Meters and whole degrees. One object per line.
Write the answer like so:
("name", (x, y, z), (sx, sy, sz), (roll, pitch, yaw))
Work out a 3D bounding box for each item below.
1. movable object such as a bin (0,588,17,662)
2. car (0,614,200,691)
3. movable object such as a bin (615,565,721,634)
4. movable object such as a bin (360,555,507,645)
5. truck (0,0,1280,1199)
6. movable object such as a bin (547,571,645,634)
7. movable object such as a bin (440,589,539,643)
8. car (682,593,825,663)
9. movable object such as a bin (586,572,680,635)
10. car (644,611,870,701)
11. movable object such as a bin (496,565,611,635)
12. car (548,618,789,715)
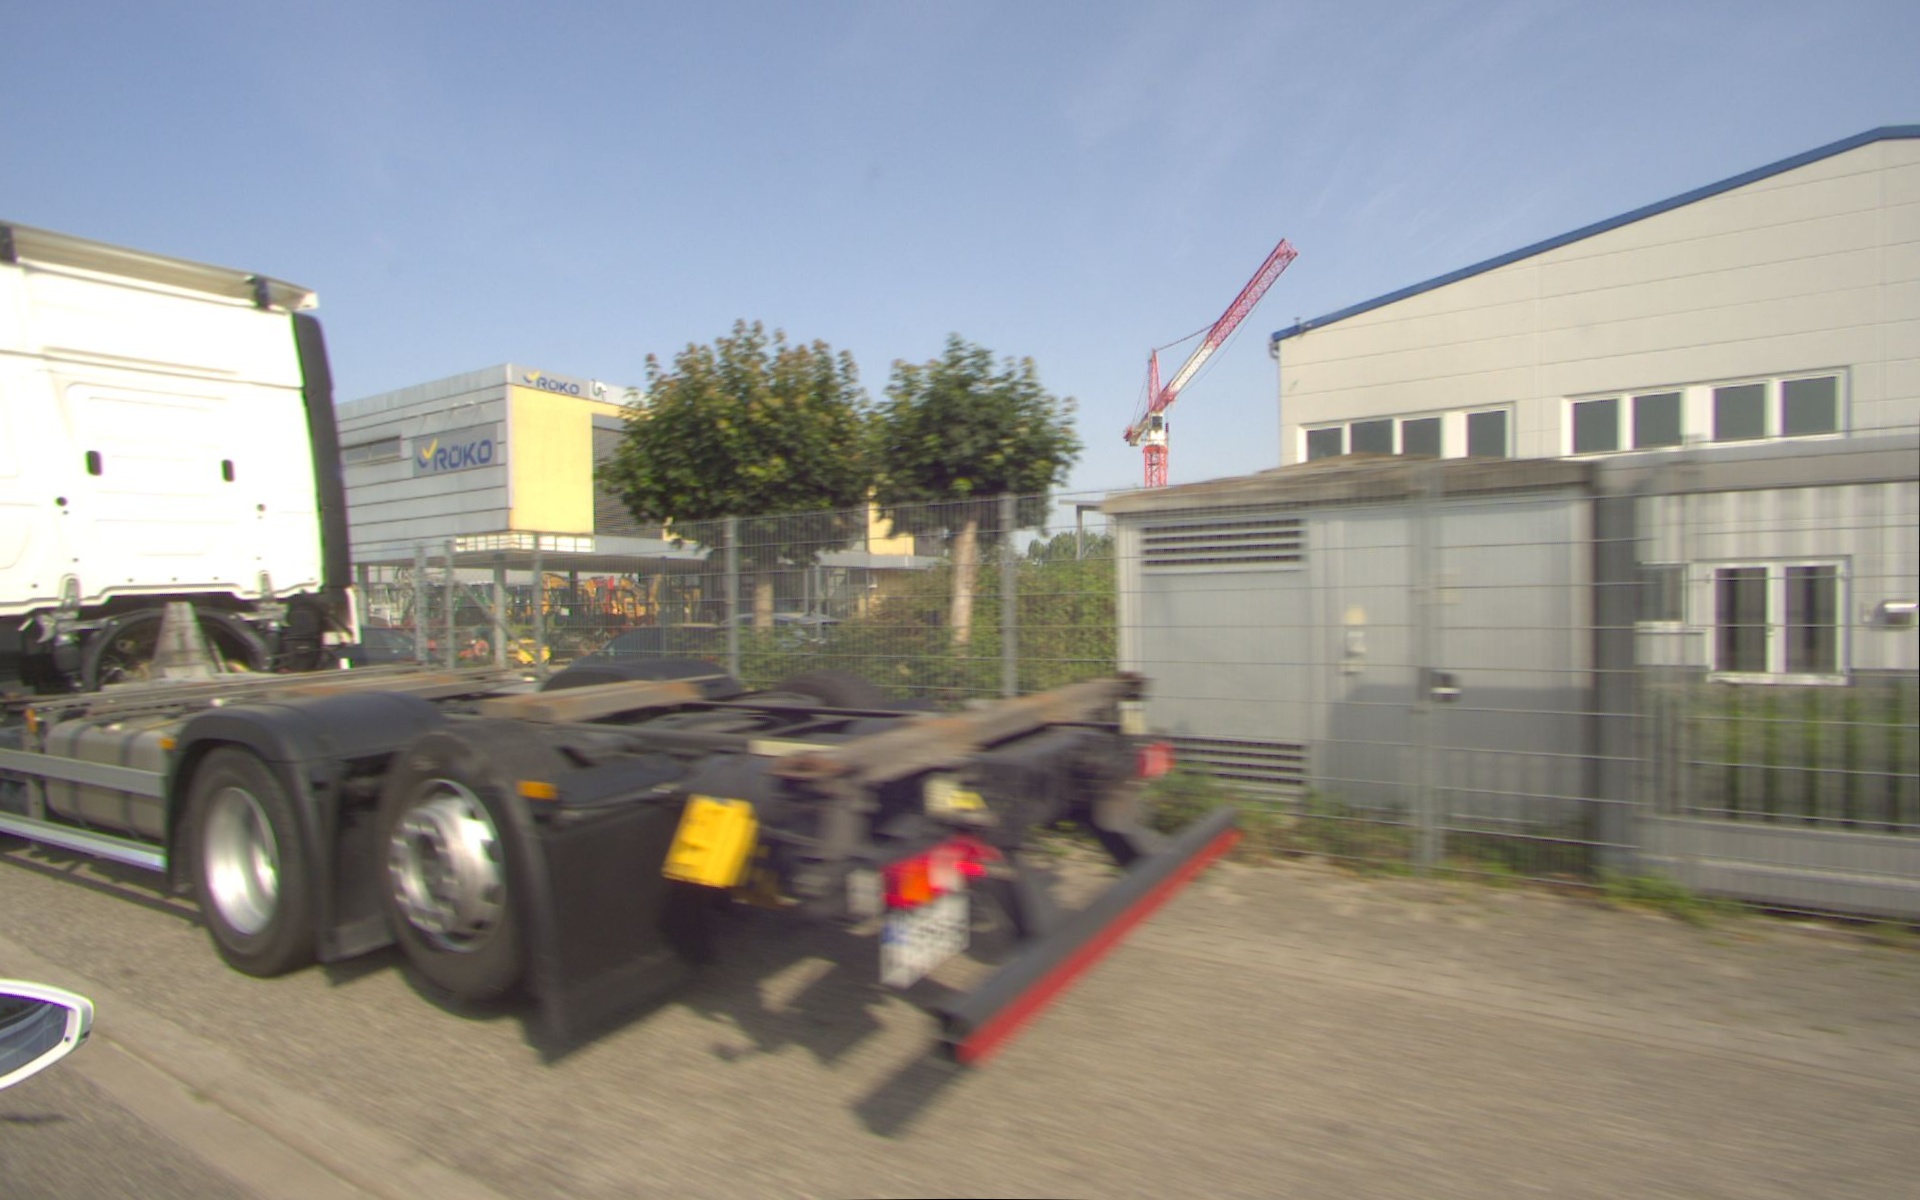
("movable object such as a bin", (-38.607, 0.973, 38.786), (5.088, 2.788, 1.882), (-1, 0, 34))
("car", (-19.765, 1.100, 22.239), (1.870, 1.515, 4.220), (0, 0, 29))
("movable object such as a bin", (-17.550, 0.010, 60.145), (5.932, 3.982, 2.714), (-1, 1, 29))
("movable object such as a bin", (-24.881, 0.015, 47.247), (7.102, 3.982, 2.912), (0, 1, 32))
("truck", (-3.389, -0.557, 5.696), (9.548, 4.070, 2.738), (0, 2, 33))
("movable object such as a bin", (-23.177, 0.217, 63.651), (6.050, 3.831, 2.447), (-1, 1, 30))
("movable object such as a bin", (-25.203, 0.827, 53.545), (5.607, 2.806, 2.050), (0, 1, 32))
("car", (-6.373, 0.831, 31.308), (1.869, 2.028, 4.346), (0, 0, 34))
("movable object such as a bin", (-21.785, 0.261, 66.711), (6.050, 3.982, 2.447), (-1, 1, 30))
("car", (-3.952, 1.007, 19.408), (4.038, 1.577, 1.888), (0, 0, 28))
("movable object such as a bin", (-24.435, 0.074, 60.129), (7.094, 3.982, 2.462), (-1, 1, 30))
("car", (-5.024, 1.055, 17.114), (3.945, 1.451, 1.880), (-1, -1, 34))
